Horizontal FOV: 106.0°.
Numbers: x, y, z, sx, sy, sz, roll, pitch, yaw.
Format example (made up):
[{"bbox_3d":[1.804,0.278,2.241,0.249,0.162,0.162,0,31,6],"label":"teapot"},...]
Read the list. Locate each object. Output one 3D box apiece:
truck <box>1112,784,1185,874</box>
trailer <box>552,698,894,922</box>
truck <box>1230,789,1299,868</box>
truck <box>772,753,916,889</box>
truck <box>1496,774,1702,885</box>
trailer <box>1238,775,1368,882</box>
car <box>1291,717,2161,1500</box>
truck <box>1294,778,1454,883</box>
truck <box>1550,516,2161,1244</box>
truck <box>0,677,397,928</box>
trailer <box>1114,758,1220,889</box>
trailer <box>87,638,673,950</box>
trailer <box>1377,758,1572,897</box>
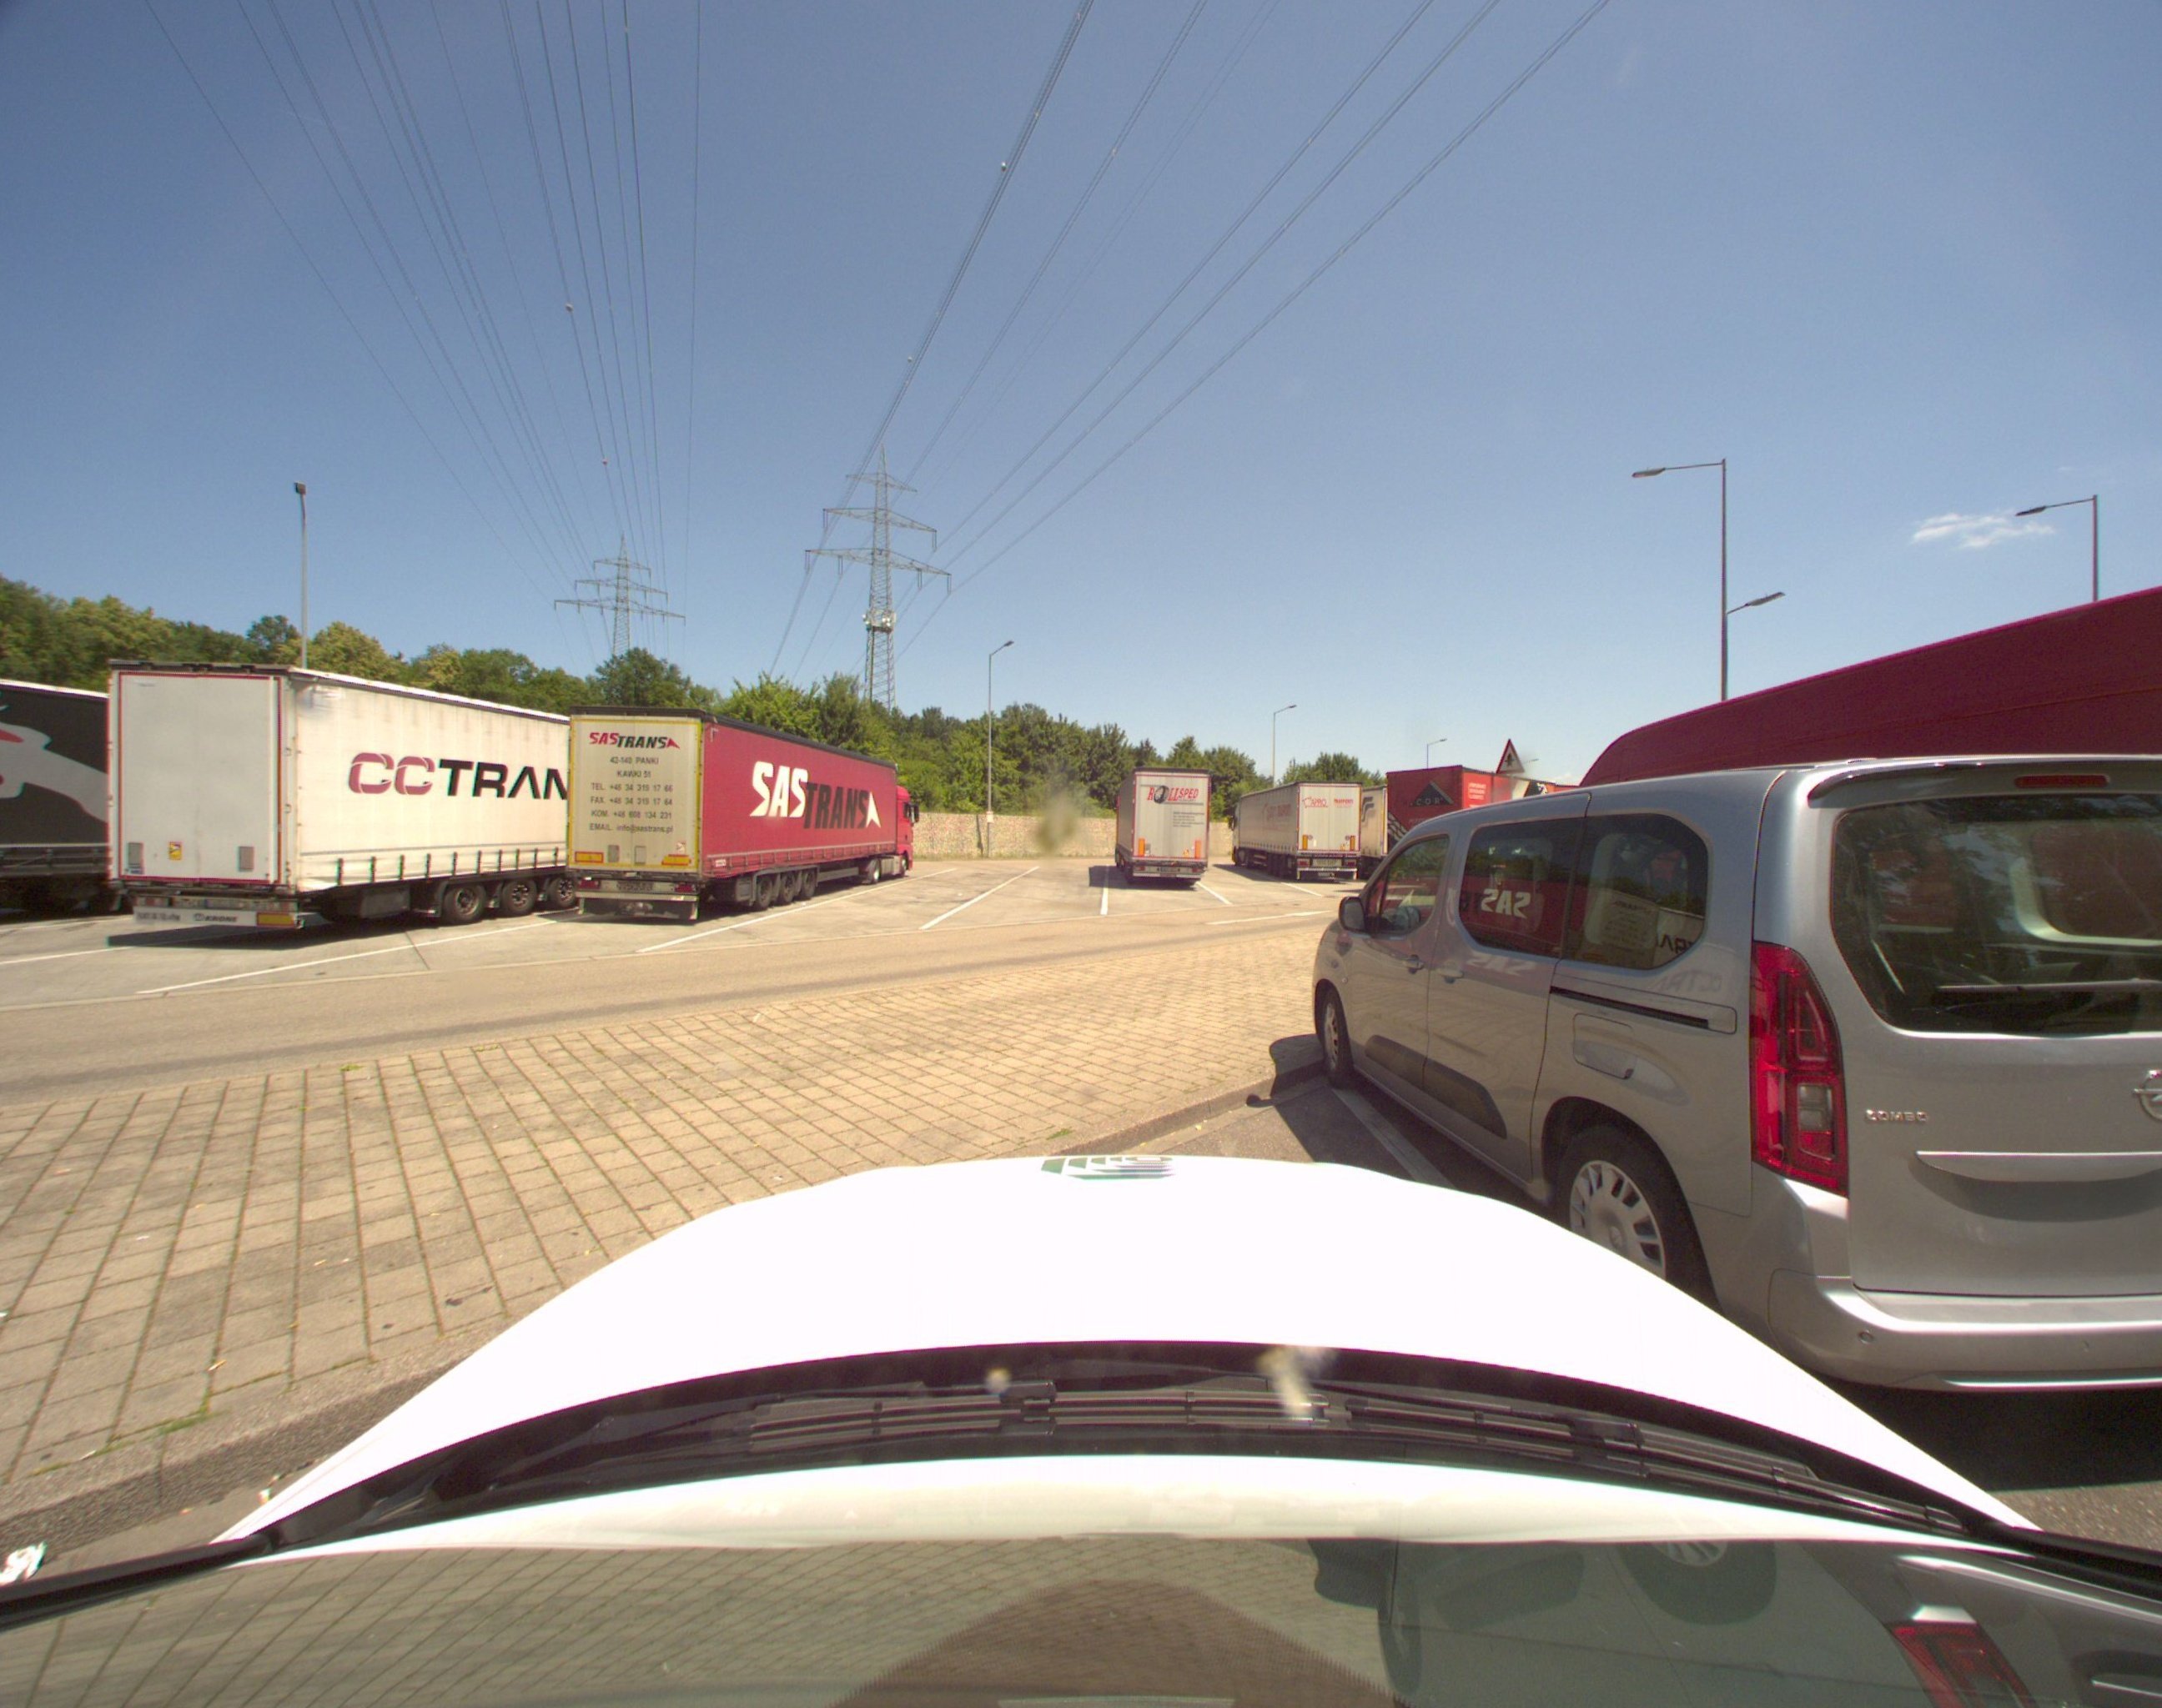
[{"bbox_3d":[3.125,-1.218,39.520,3.016,3.928,6.848,1,2,1],"label":"truck"},{"bbox_3d":[-8.048,-0.916,21.499,2.739,4.057,13.292,-1,1,2],"label":"trailer"},{"bbox_3d":[10.125,-1.388,45.422,2.747,4.124,5.286,-1,1,2],"label":"truck"},{"bbox_3d":[-7.840,-1.050,28.023,2.733,4.081,6.832,-1,1,1],"label":"truck"},{"bbox_3d":[21.853,-1.025,34.071,10.636,4.127,2.668,-1,1,-30],"label":"truck"},{"bbox_3d":[9.938,-1.098,38.419,2.865,4.124,13.577,0,1,2],"label":"trailer"},{"bbox_3d":[2.470,0.534,3.860,1.821,1.753,3.998,-1,1,-2],"label":"car"},{"bbox_3d":[13.572,-1.051,39.664,2.894,4.124,14.533,2,1,2],"label":"truck"},{"bbox_3d":[5.100,0.055,4.882,1.983,2.623,5.312,0,1,6],"label":"truck"},{"bbox_3d":[-18.512,-0.858,15.973,2.627,4.018,8.640,-1,1,2],"label":"truck"},{"bbox_3d":[3.043,-1.184,32.748,3.059,4.227,12.811,1,2,1],"label":"trailer"},{"bbox_3d":[-12.100,-0.896,16.080,2.734,4.263,9.740,0,1,3],"label":"trailer"},{"bbox_3d":[14.145,-0.908,28.843,8.729,4.257,2.810,-1,1,-39],"label":"trailer"}]
